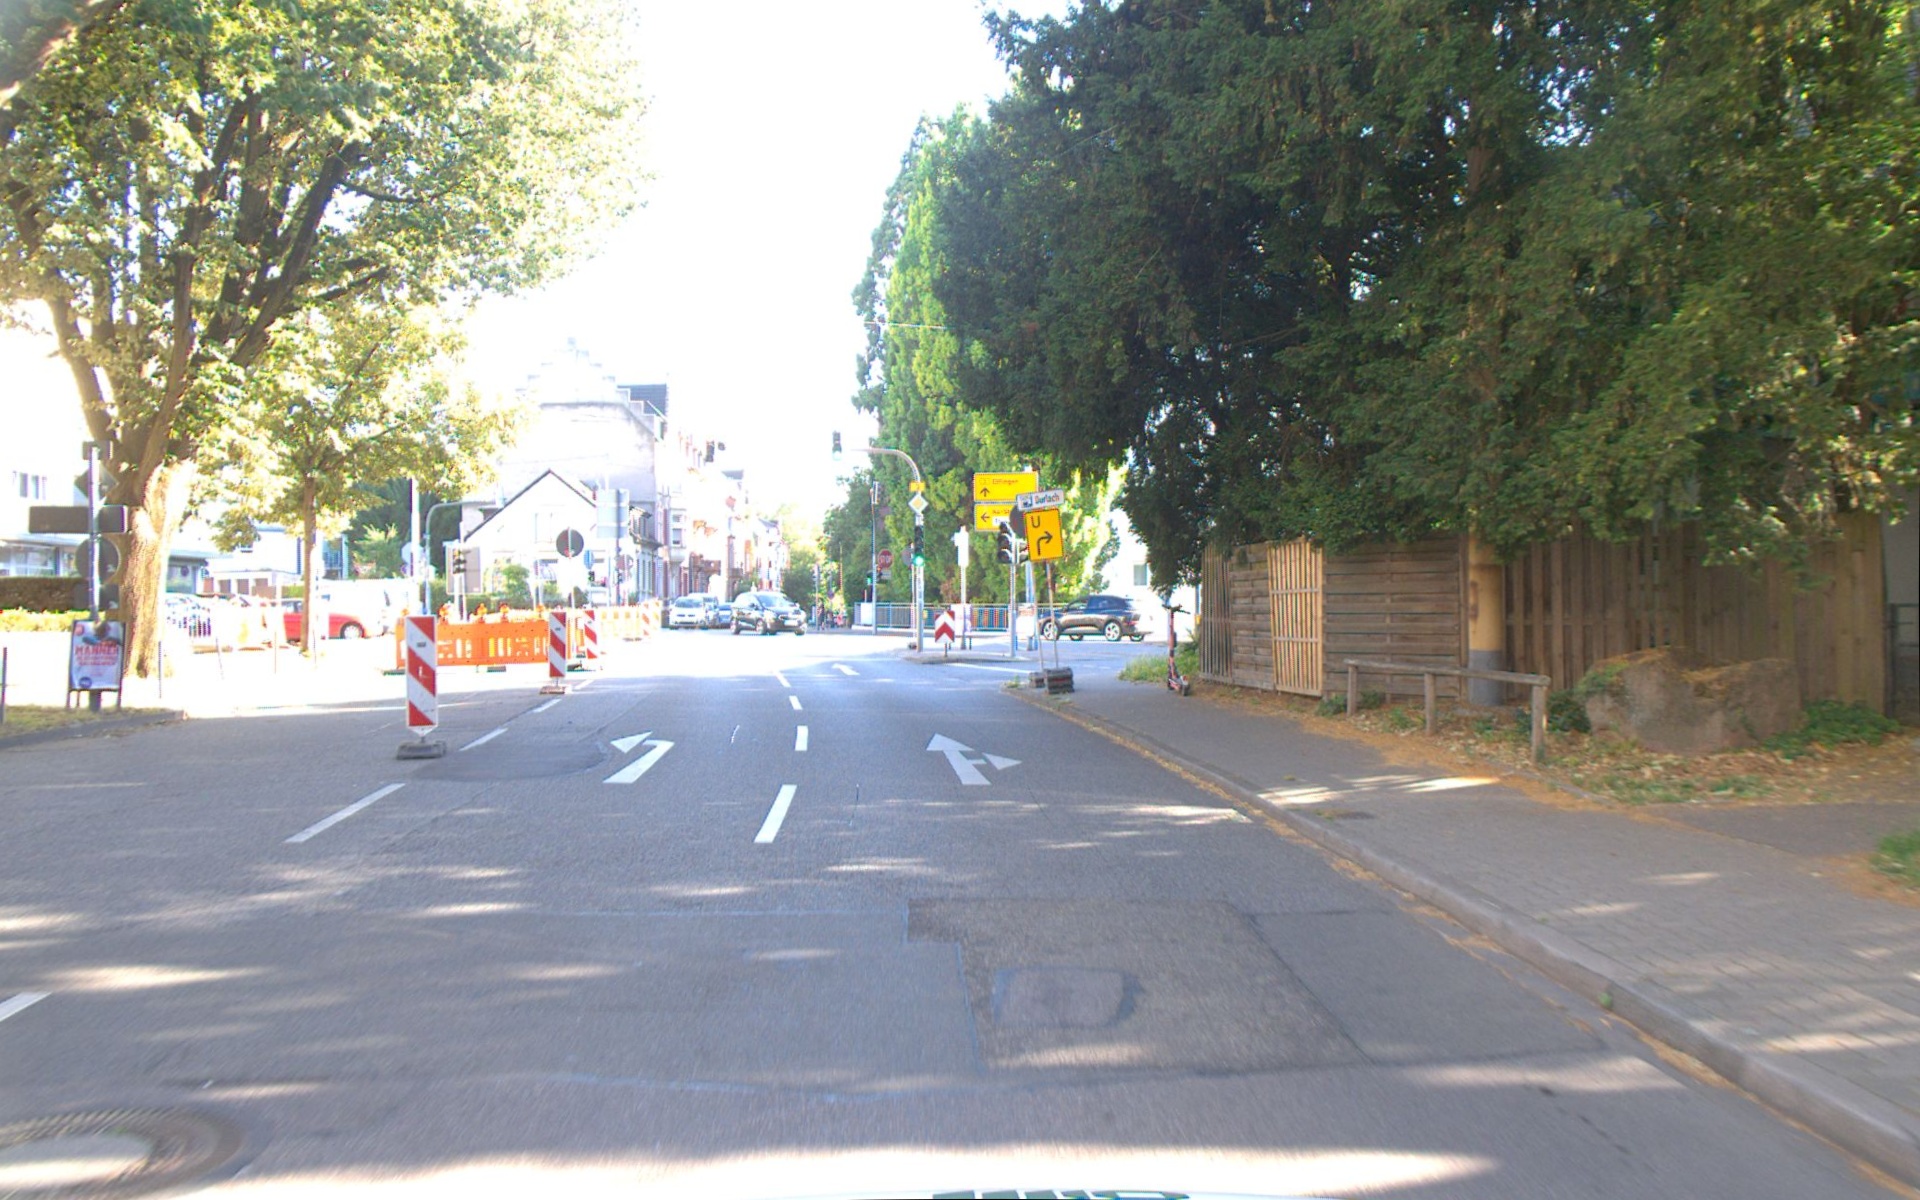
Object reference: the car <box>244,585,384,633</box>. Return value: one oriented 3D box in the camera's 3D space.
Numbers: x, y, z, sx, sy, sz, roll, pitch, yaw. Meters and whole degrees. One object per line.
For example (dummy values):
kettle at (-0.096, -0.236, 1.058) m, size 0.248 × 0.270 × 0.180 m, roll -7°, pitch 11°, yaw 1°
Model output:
car at (-21.062, 0.280, 54.101) m, size 3.919 × 1.505 × 1.995 m, roll 1°, pitch 0°, yaw -11°

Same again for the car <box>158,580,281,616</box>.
car at (-31.034, -0.092, 69.381) m, size 4.222 × 1.423 × 2.001 m, roll 1°, pitch 0°, yaw 7°

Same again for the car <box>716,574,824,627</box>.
car at (-7.242, -0.016, 62.829) m, size 1.984 × 1.847 × 4.186 m, roll -3°, pitch 3°, yaw -42°

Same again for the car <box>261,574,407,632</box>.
car at (-21.390, 0.097, 56.630) m, size 4.228 × 1.884 × 1.998 m, roll 1°, pitch 0°, yaw -4°

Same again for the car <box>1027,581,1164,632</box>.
car at (4.866, 0.240, 59.744) m, size 4.575 × 1.699 × 1.990 m, roll 0°, pitch -3°, yaw 39°

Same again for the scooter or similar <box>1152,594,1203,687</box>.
scooter or similar at (2.999, 0.541, 22.885) m, size 0.429 × 1.223 × 1.257 m, roll -3°, pitch 0°, yaw -3°

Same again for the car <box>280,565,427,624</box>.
car at (-21.749, -0.207, 59.466) m, size 4.580 × 1.999 × 2.113 m, roll 1°, pitch 0°, yaw -9°

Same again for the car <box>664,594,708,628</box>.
car at (-13.385, 0.523, 80.706) m, size 1.746 × 1.570 × 3.984 m, roll 1°, pitch 0°, yaw -15°

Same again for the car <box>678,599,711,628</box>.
car at (-14.798, 0.731, 92.143) m, size 1.743 × 1.506 × 4.087 m, roll 1°, pitch 0°, yaw -10°

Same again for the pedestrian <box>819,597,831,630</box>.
pedestrian at (-7.054, 0.709, 86.147) m, size 0.590 × 1.722 × 0.611 m, roll -1°, pitch 0°, yaw -4°

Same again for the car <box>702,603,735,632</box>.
car at (-14.893, 1.037, 102.081) m, size 1.741 × 1.677 × 4.529 m, roll 1°, pitch 0°, yaw -5°
